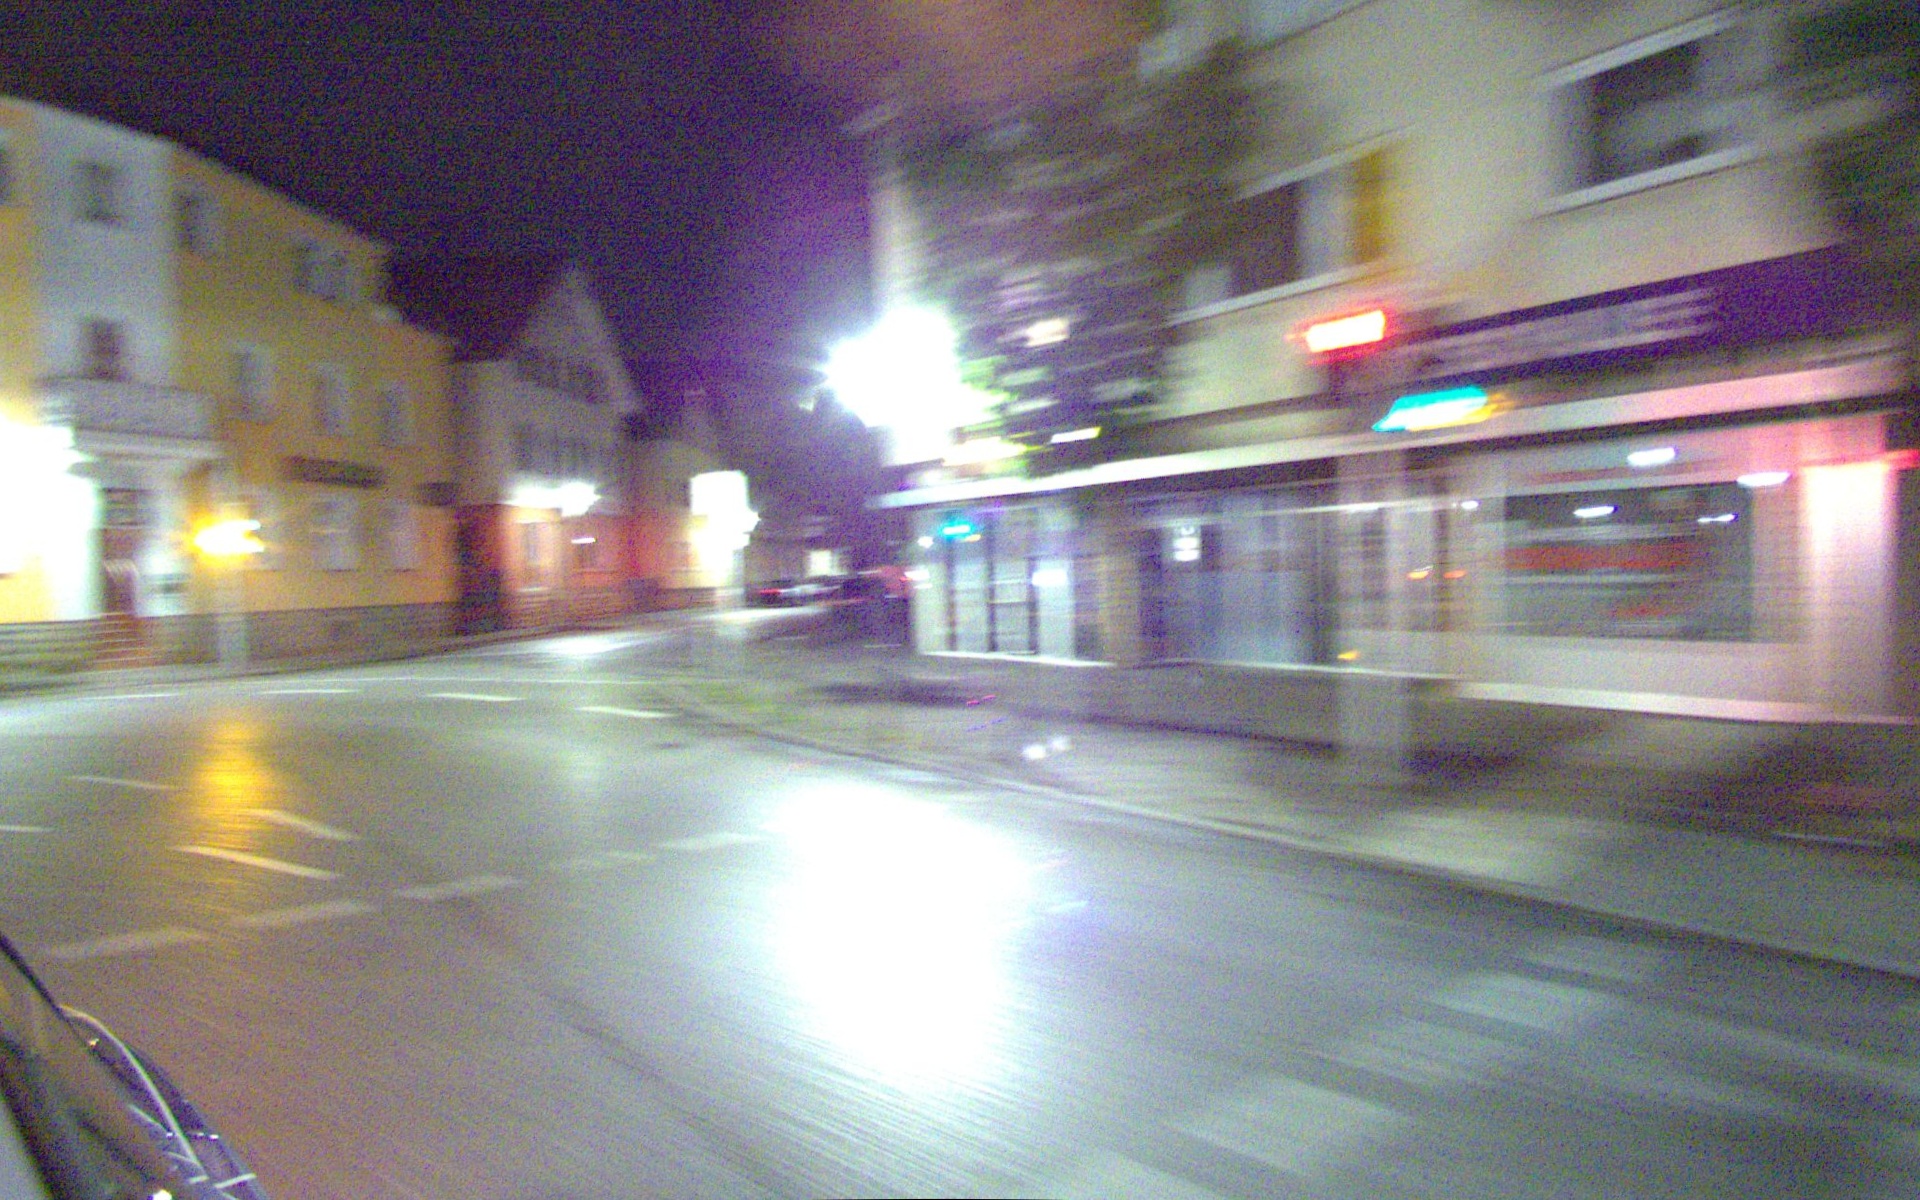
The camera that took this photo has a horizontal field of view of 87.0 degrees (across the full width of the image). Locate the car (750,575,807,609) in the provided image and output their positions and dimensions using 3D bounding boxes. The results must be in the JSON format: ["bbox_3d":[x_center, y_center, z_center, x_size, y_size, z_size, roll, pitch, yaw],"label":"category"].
[{"bbox_3d":[-8.972,-0.417,50.459,1.714,1.530,3.993,-2,1,6],"label":"car"}]

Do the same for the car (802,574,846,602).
[{"bbox_3d":[-7.998,-0.733,59.835,1.691,1.530,3.993,-2,1,6],"label":"car"}]

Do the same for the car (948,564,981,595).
[{"bbox_3d":[0.345,-1.418,68.914,1.904,1.922,4.172,-2,1,4],"label":"car"}]

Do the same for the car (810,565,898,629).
[{"bbox_3d":[-3.139,-0.141,30.757,1.904,1.763,4.172,-2,1,4],"label":"car"}]

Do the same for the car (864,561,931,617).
[{"bbox_3d":[-2.256,-0.449,37.787,1.904,1.922,4.172,-2,1,4],"label":"car"}]

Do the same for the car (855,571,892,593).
[{"bbox_3d":[-6.470,-1.385,75.840,1.976,1.530,3.993,-2,1,6],"label":"car"}]

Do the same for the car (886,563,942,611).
[{"bbox_3d":[-1.962,-0.600,44.002,1.904,1.922,4.172,-2,1,4],"label":"car"}]

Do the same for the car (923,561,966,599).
[{"bbox_3d":[-0.810,-1.095,54.496,1.904,1.922,4.172,-2,1,4],"label":"car"}]
